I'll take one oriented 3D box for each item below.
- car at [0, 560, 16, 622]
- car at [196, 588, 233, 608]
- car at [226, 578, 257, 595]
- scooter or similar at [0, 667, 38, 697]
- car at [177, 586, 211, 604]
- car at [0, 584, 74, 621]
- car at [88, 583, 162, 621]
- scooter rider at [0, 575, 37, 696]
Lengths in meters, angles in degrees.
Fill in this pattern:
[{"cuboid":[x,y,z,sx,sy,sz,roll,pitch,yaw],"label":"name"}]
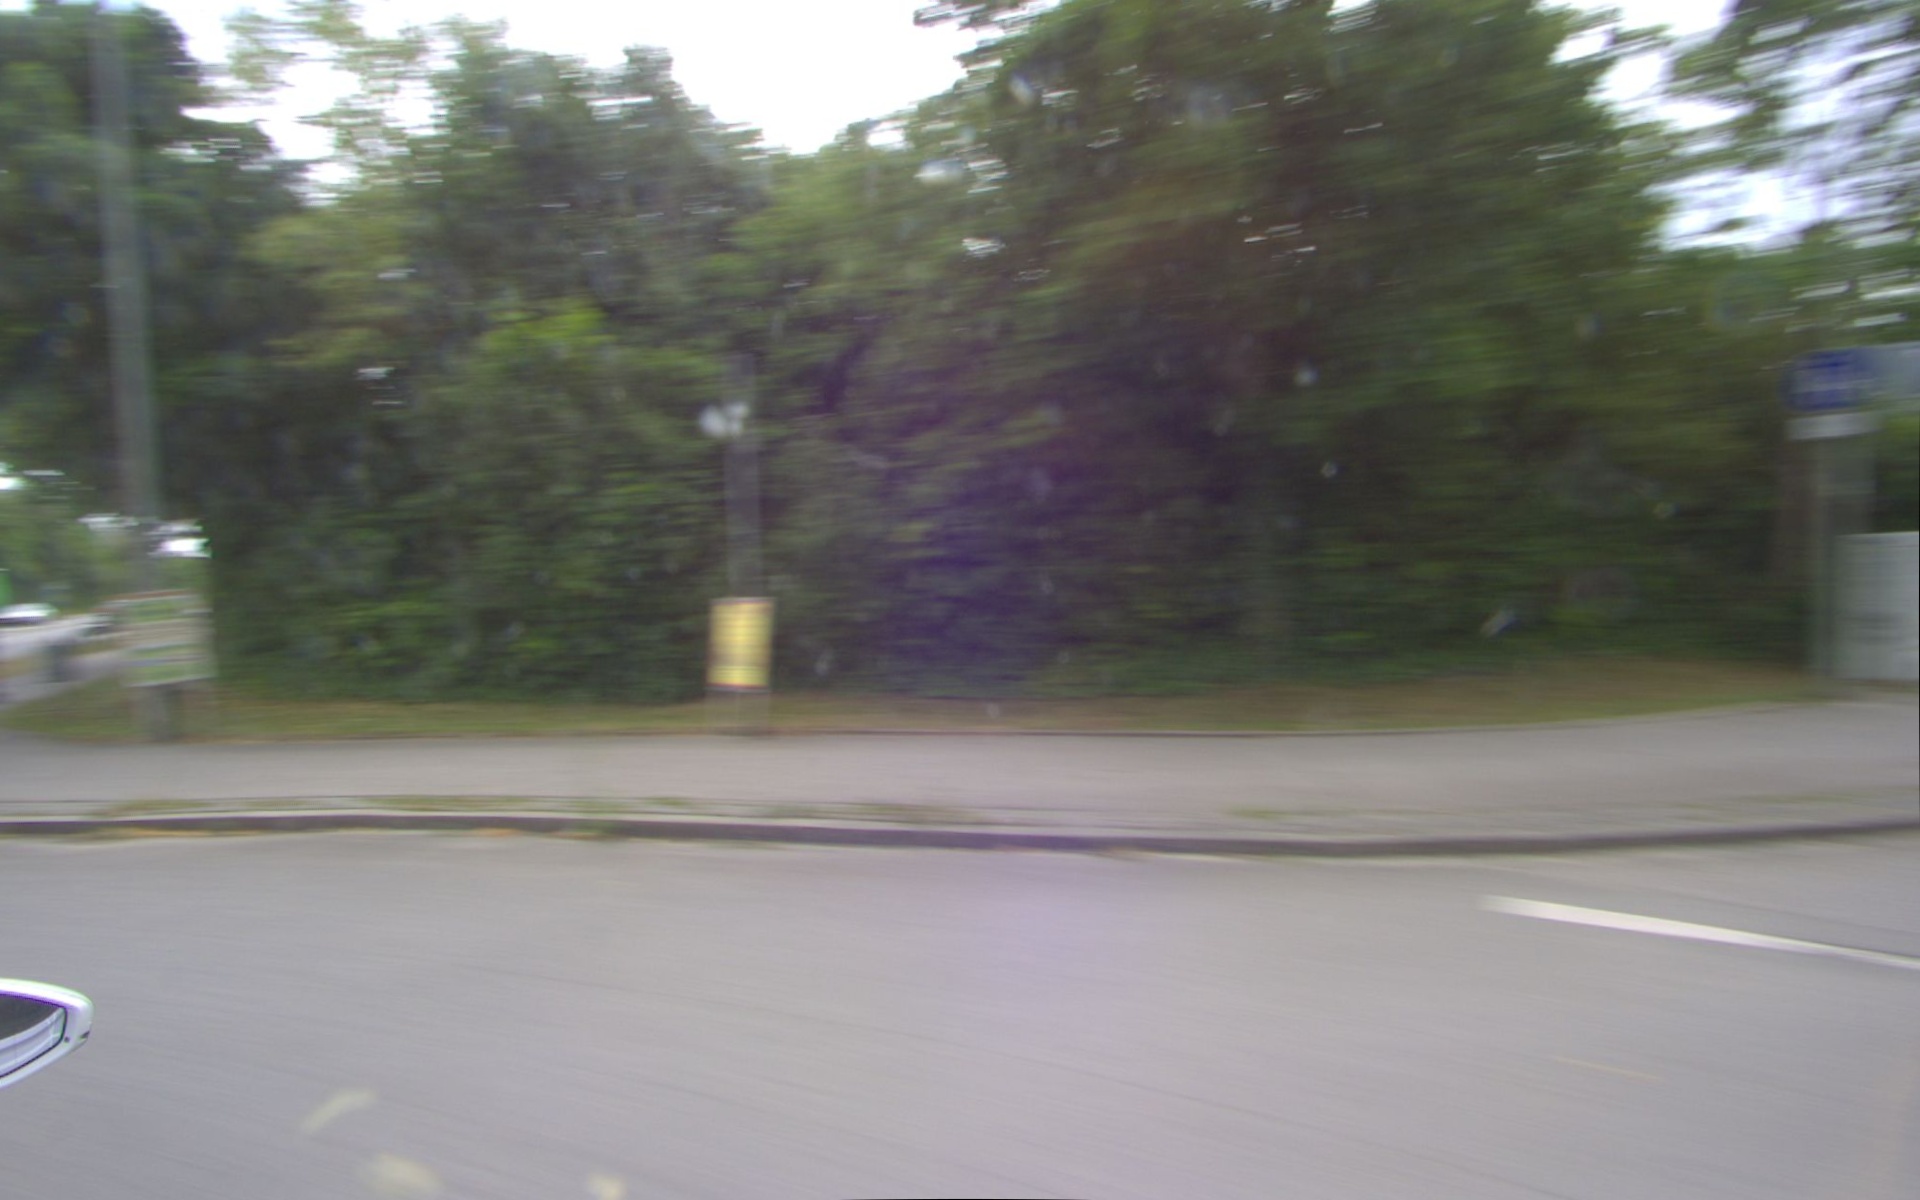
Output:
[{"cuboid":[-50.610,-0.384,50.120,3.135,3.249,7.588,-3,3,-31],"label":"car"},{"cuboid":[-79.646,-0.274,107.060,2.485,1.974,5.677,-3,3,-31],"label":"car"},{"cuboid":[-88.638,-1.631,123.582,2.485,1.974,5.677,-3,3,-31],"label":"car"},{"cuboid":[-16.073,1.390,16.328,1.206,0.386,1.123,-4,3,-26],"label":"scooter or similar"},{"cuboid":[-91.553,-0.644,119.784,2.485,1.974,5.677,-3,3,-31],"label":"car"},{"cuboid":[-59.736,0.097,64.674,2.650,2.204,5.962,-3,3,-32],"label":"car"},{"cuboid":[-47.459,0.054,57.056,2.487,1.974,5.674,-4,3,-33],"label":"car"},{"cuboid":[-16.118,0.592,16.274,1.206,1.937,1.123,-4,4,-25],"label":"scooter rider"}]
